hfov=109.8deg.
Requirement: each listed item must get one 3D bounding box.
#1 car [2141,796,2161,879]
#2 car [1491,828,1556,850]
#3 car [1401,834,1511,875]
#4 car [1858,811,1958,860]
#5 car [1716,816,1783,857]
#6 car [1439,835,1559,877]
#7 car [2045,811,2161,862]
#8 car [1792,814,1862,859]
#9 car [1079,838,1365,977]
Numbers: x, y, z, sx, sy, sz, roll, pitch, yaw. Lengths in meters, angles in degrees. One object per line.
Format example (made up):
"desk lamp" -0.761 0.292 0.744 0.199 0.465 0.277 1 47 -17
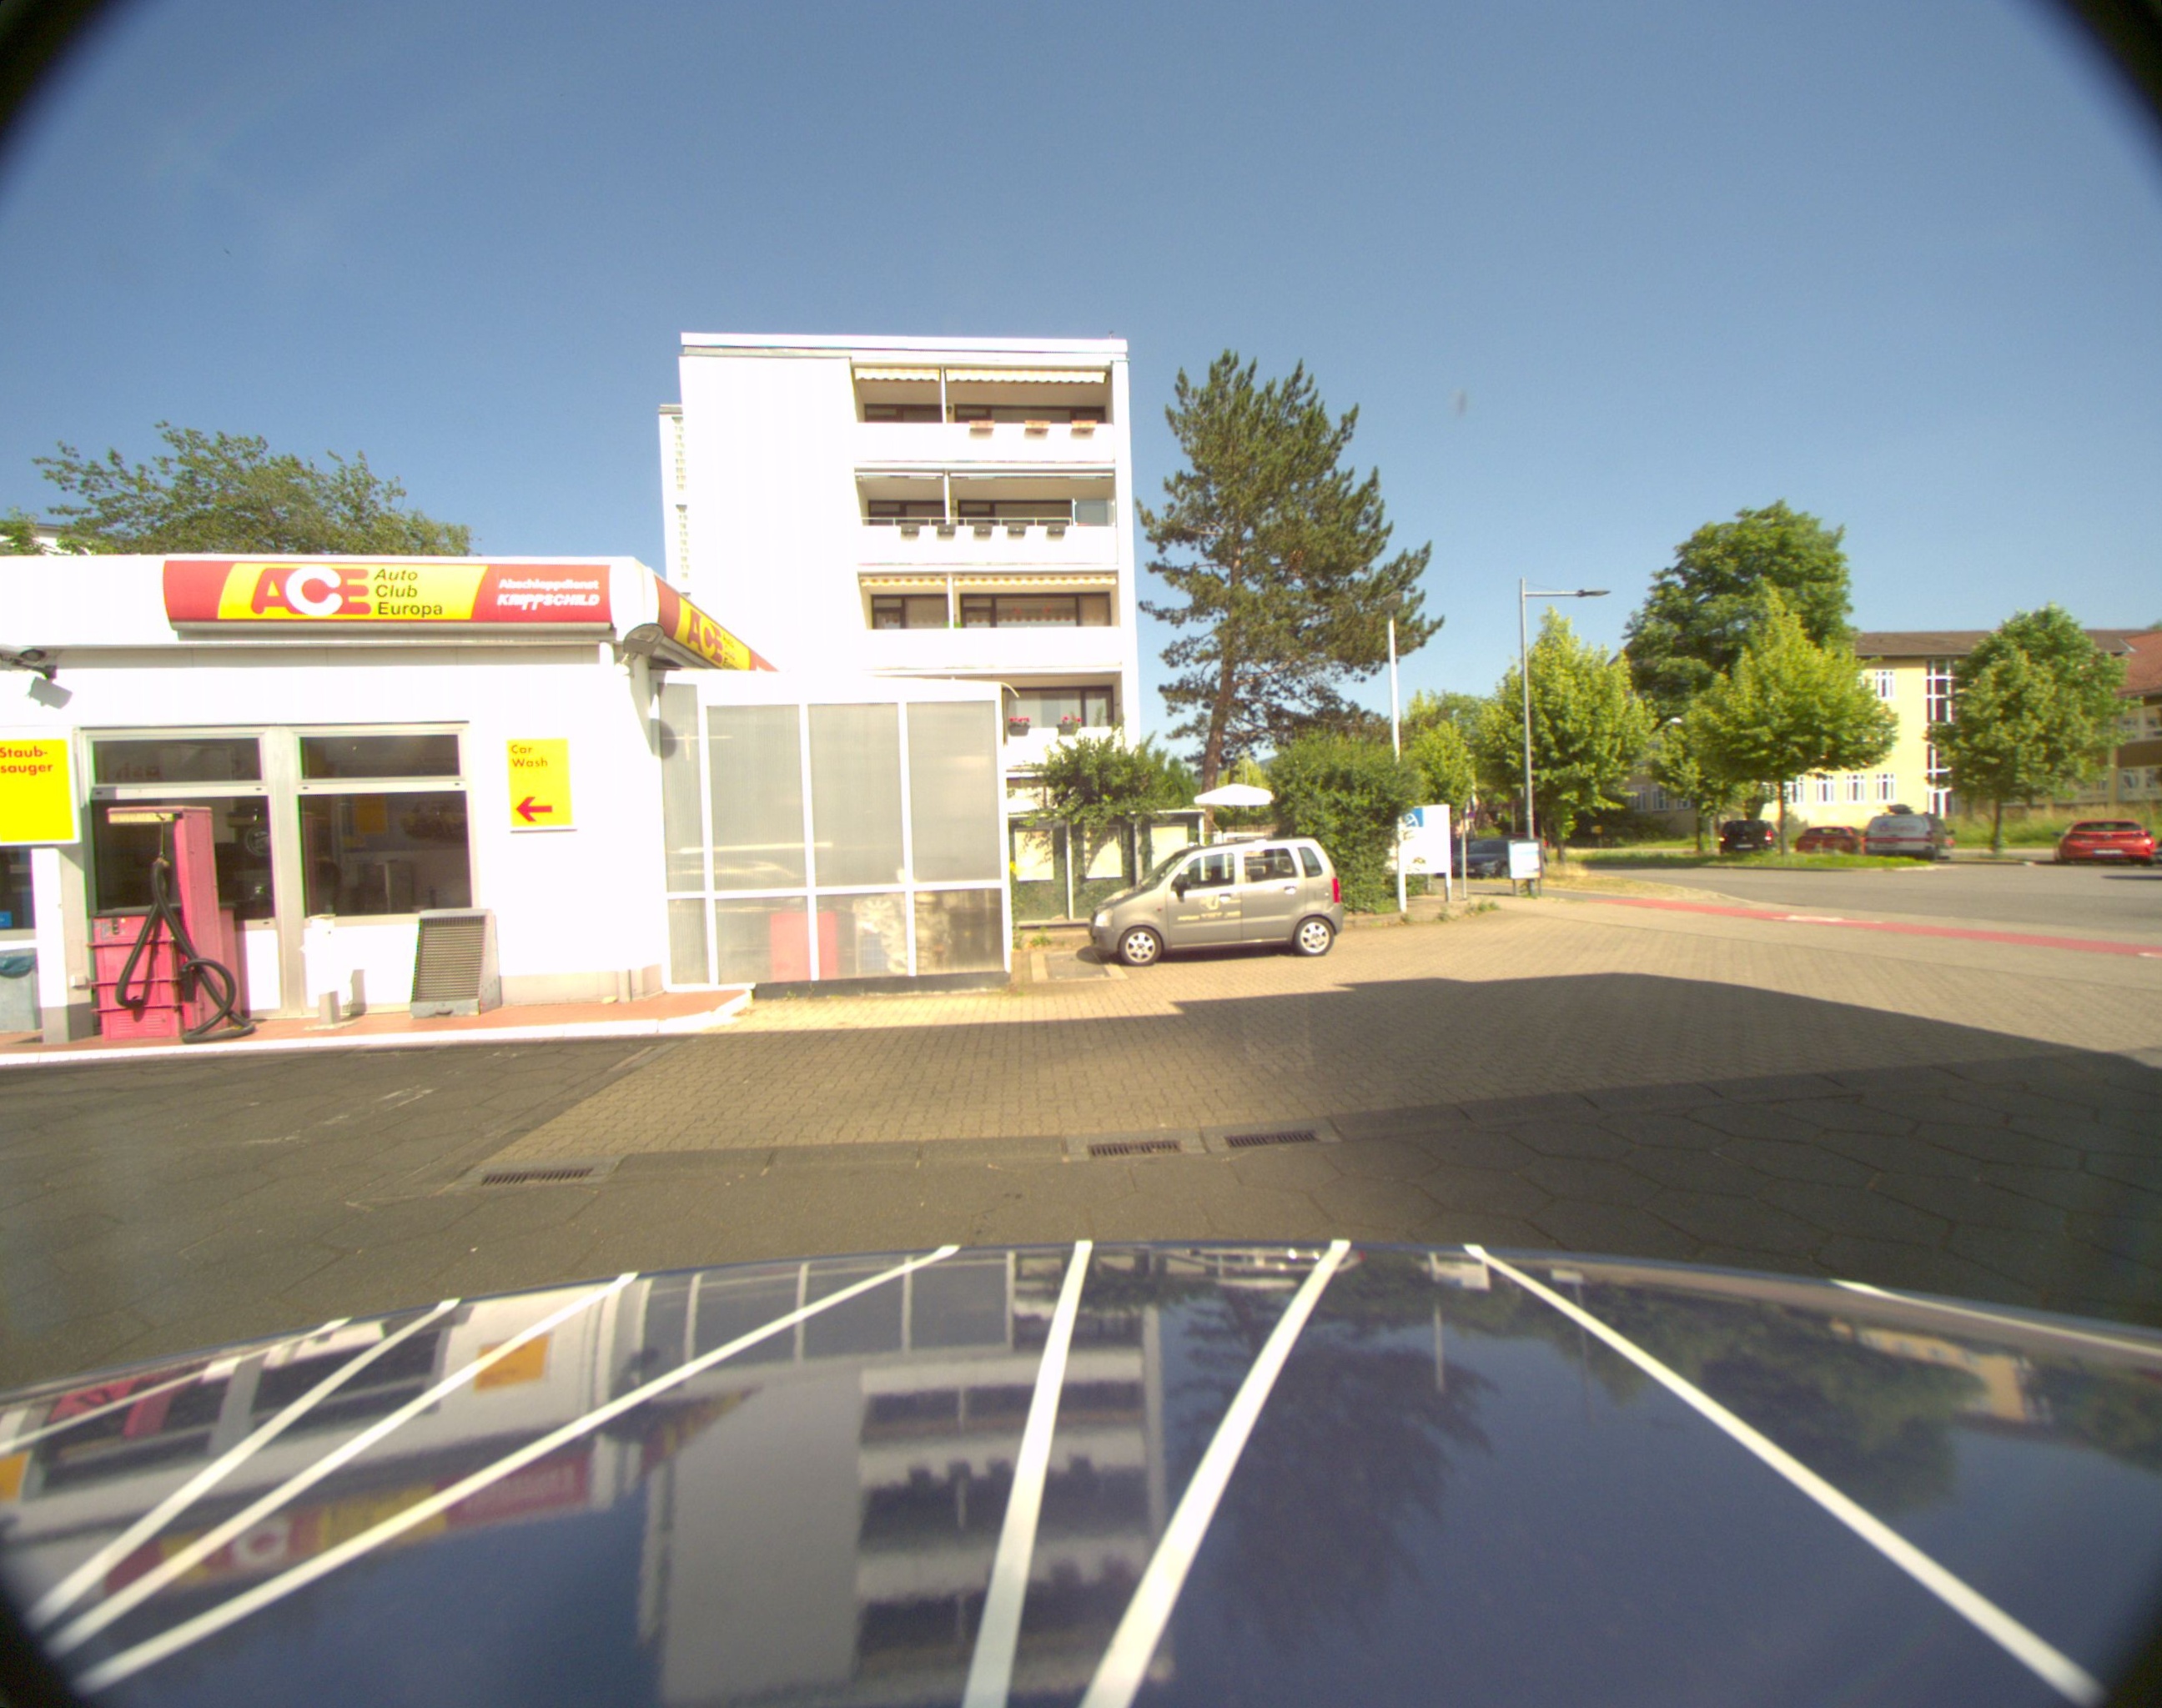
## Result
"car" 25.205 -0.451 15.237 2.004 1.759 4.379 -4 1 -42
"car" 29.382 -0.994 50.439 3.731 1.383 1.877 -1 2 -23
"car" 14.653 -0.012 29.640 4.232 1.473 1.876 -1 1 -31
"car" 31.226 -0.700 28.671 4.233 1.713 1.876 -1 2 -34
"car" 30.057 -0.788 34.124 4.234 1.713 1.876 -1 2 -44
"car" 14.855 0.034 26.978 4.233 1.409 1.876 -1 1 -31
"car" 31.748 -0.543 23.712 4.234 1.451 1.876 -2 2 -40
"car" 30.999 -0.731 31.537 4.234 1.713 1.876 -1 2 -44
"car" 1.882 0.682 10.888 3.660 1.608 1.691 -4 1 -3
